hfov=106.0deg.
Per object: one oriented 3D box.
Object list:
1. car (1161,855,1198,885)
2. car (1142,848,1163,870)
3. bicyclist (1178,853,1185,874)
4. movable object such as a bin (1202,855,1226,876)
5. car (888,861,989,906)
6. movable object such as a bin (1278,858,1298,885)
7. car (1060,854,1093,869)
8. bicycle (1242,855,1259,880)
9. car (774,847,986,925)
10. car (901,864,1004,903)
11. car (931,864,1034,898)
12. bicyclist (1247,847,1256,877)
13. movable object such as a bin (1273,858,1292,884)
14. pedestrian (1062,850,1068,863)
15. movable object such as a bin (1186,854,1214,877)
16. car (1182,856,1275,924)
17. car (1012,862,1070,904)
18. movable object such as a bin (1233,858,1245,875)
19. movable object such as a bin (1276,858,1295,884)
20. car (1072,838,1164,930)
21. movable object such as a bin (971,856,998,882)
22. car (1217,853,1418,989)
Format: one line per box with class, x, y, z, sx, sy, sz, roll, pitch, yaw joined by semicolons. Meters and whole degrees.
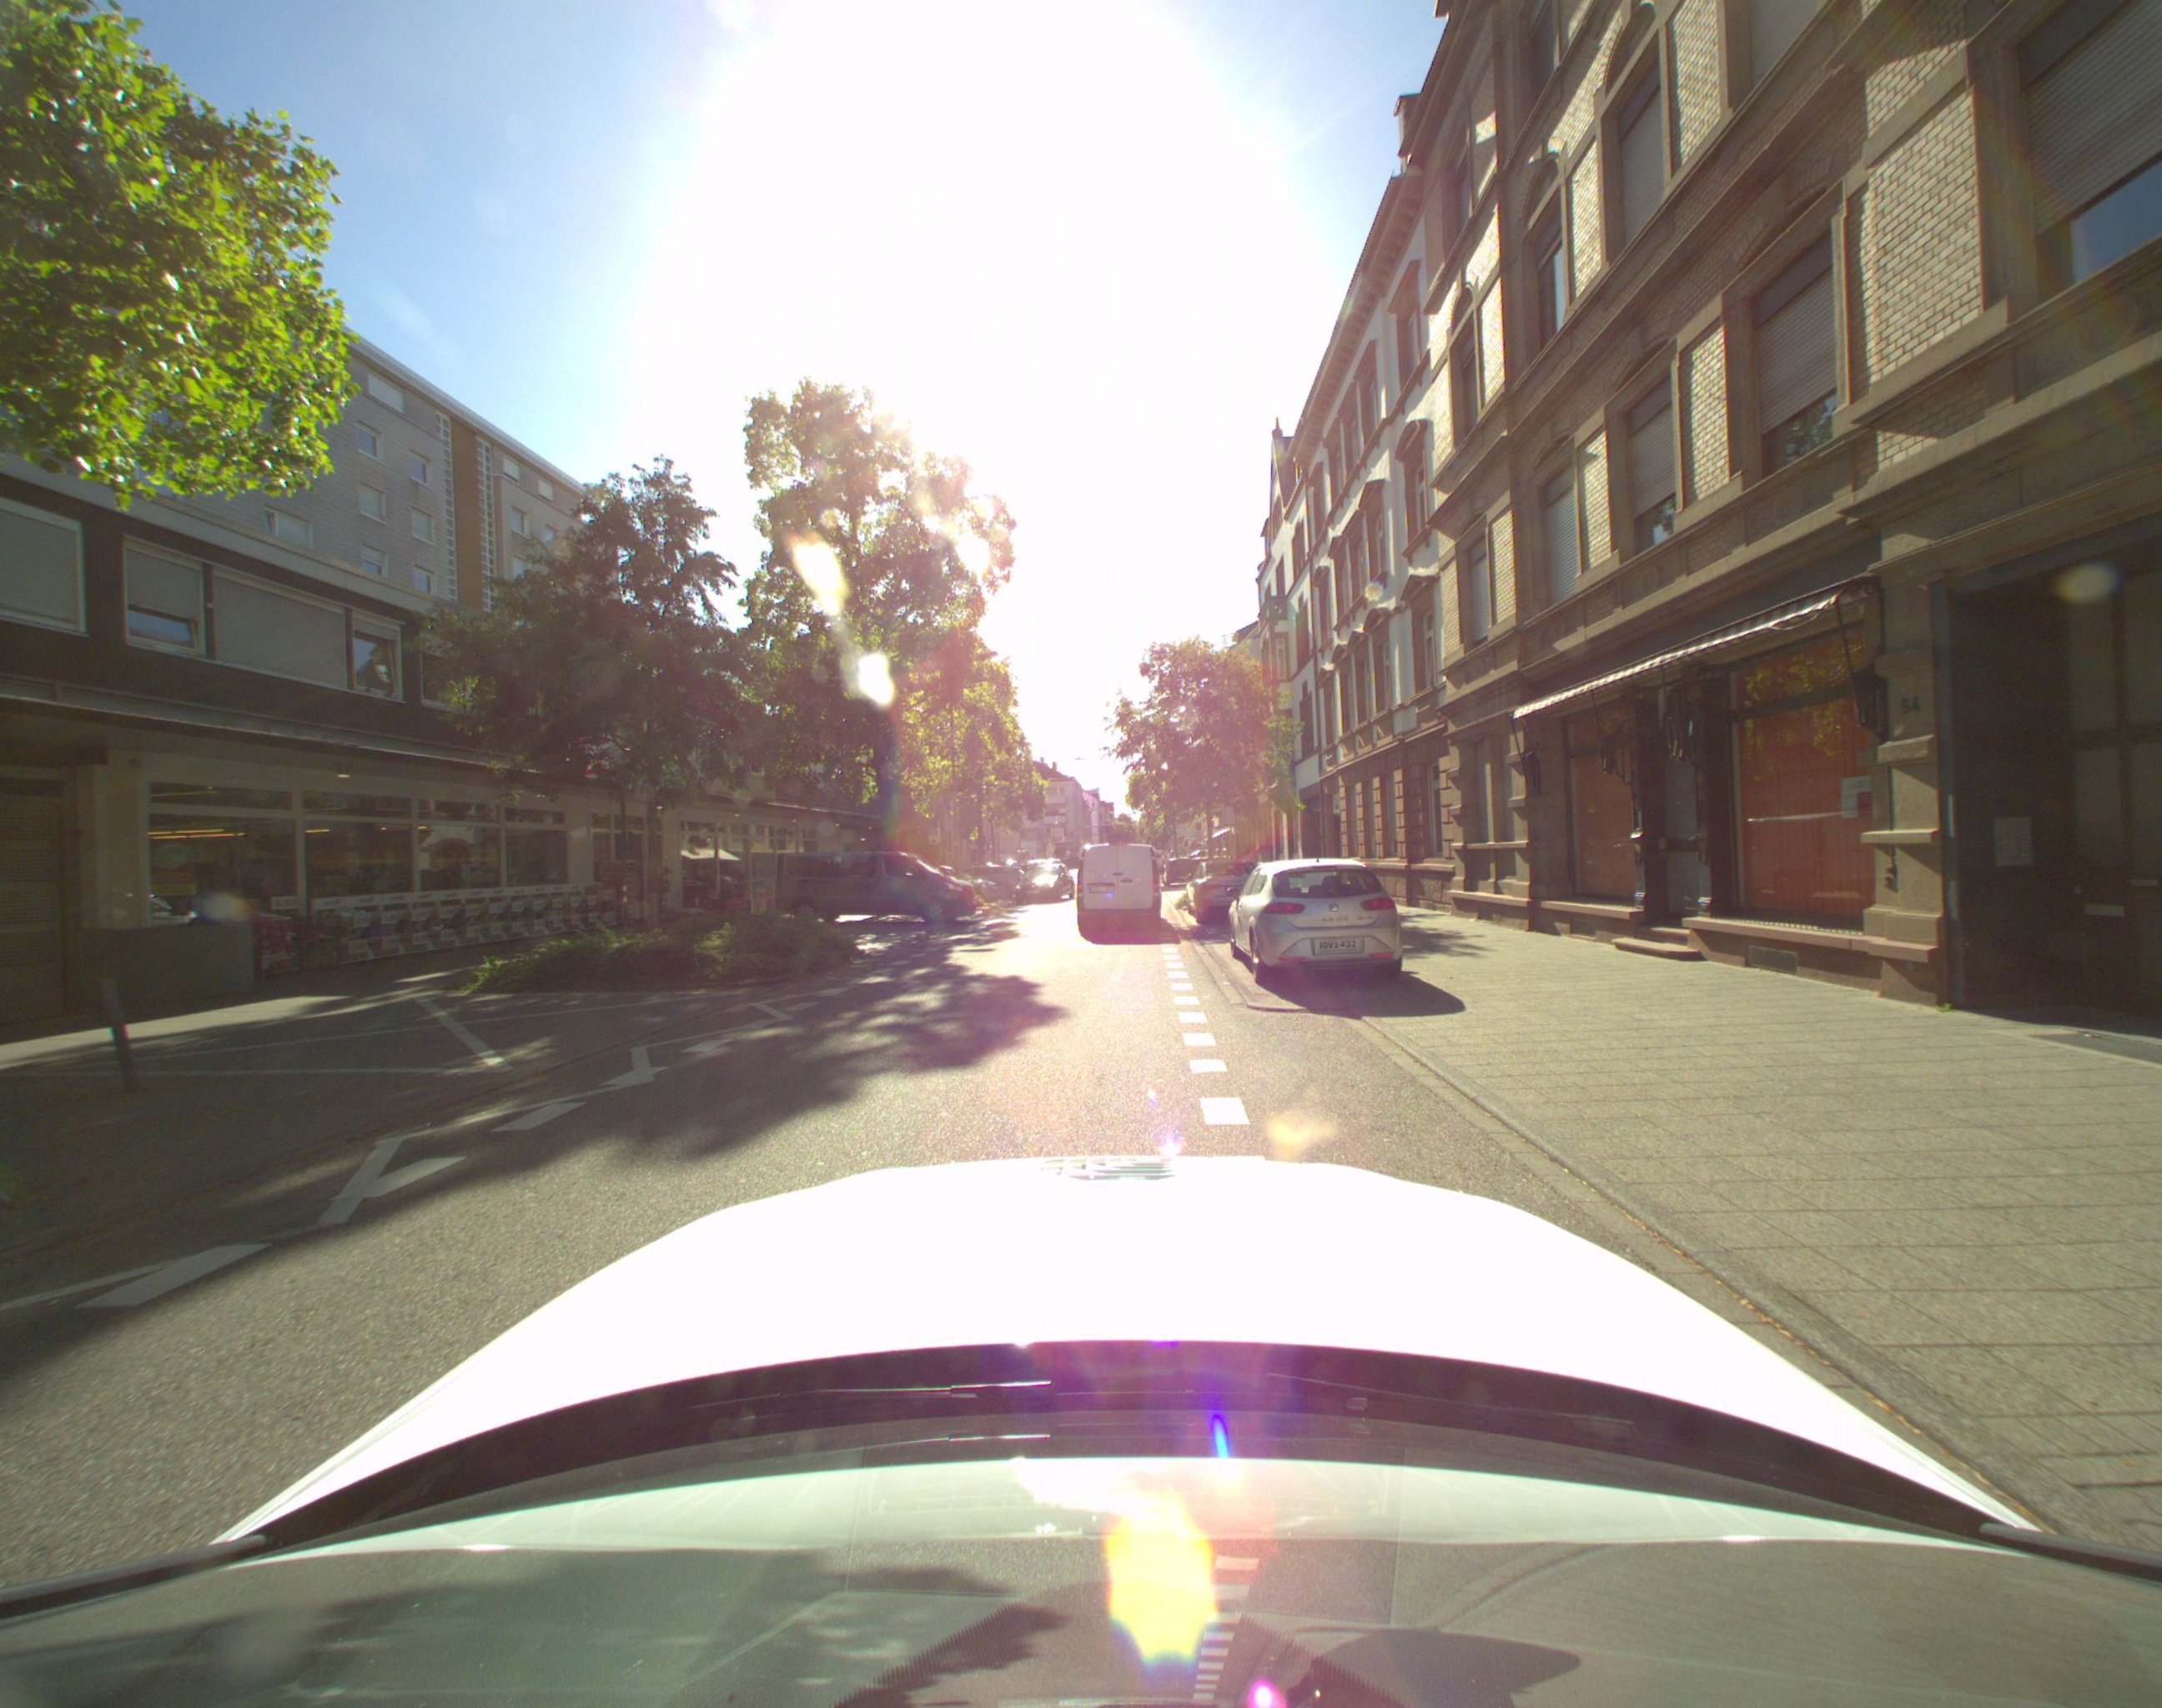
car;5.173;0.824;43.087;1.629;1.476;3.582;-3;0;2
car;6.725;0.490;76.909;1.808;1.921;4.647;-2;0;3
bicyclist;6.988;0.658;56.753;0.437;1.508;0.497;-2;0;3
movable object such as a bin;8.520;0.736;52.090;1.028;1.347;1.115;-2;0;42
car;-5.304;1.070;30.685;3.595;1.552;1.680;-1;-1;-8
movable object such as a bin;8.589;0.714;33.782;0.635;1.069;0.640;-2;0;3
car;-0.557;0.881;99.800;3.974;1.640;2.000;-2;0;0
bicycle;8.460;0.665;40.795;0.533;1.148;2.128;-5;-1;6
car;-5.438;0.847;22.463;5.269;1.974;2.017;-1;0;3
car;-5.295;1.202;33.912;3.973;1.463;1.813;-1;0;0
car;-4.375;1.188;36.558;4.283;1.460;1.765;-1;0;6
bicyclist;8.529;0.392;40.794;0.359;1.477;0.531;-1;-1;5
movable object such as a bin;8.649;0.718;34.937;0.635;1.069;0.633;-2;0;3
pedestrian;-2.113;0.338;107.913;0.681;1.663;0.601;-2;0;2
movable object such as a bin;7.477;0.742;51.000;1.278;1.347;1.096;-2;0;-38
car;3.539;0.806;20.233;1.731;1.451;4.311;-2;0;3
car;-1.504;1.102;31.995;1.755;1.438;3.964;-3;-1;4
movable object such as a bin;9.858;0.800;50.783;0.596;1.042;0.546;-2;0;3
movable object such as a bin;8.618;0.718;34.352;0.635;1.069;0.522;-2;0;3
car;0.868;0.634;19.726;1.913;1.914;4.890;-1;0;2
movable object such as a bin;-5.595;0.873;47.431;1.222;1.450;1.079;-2;0;12
car;2.964;0.746;11.075;1.731;1.451;4.003;-2;0;3
